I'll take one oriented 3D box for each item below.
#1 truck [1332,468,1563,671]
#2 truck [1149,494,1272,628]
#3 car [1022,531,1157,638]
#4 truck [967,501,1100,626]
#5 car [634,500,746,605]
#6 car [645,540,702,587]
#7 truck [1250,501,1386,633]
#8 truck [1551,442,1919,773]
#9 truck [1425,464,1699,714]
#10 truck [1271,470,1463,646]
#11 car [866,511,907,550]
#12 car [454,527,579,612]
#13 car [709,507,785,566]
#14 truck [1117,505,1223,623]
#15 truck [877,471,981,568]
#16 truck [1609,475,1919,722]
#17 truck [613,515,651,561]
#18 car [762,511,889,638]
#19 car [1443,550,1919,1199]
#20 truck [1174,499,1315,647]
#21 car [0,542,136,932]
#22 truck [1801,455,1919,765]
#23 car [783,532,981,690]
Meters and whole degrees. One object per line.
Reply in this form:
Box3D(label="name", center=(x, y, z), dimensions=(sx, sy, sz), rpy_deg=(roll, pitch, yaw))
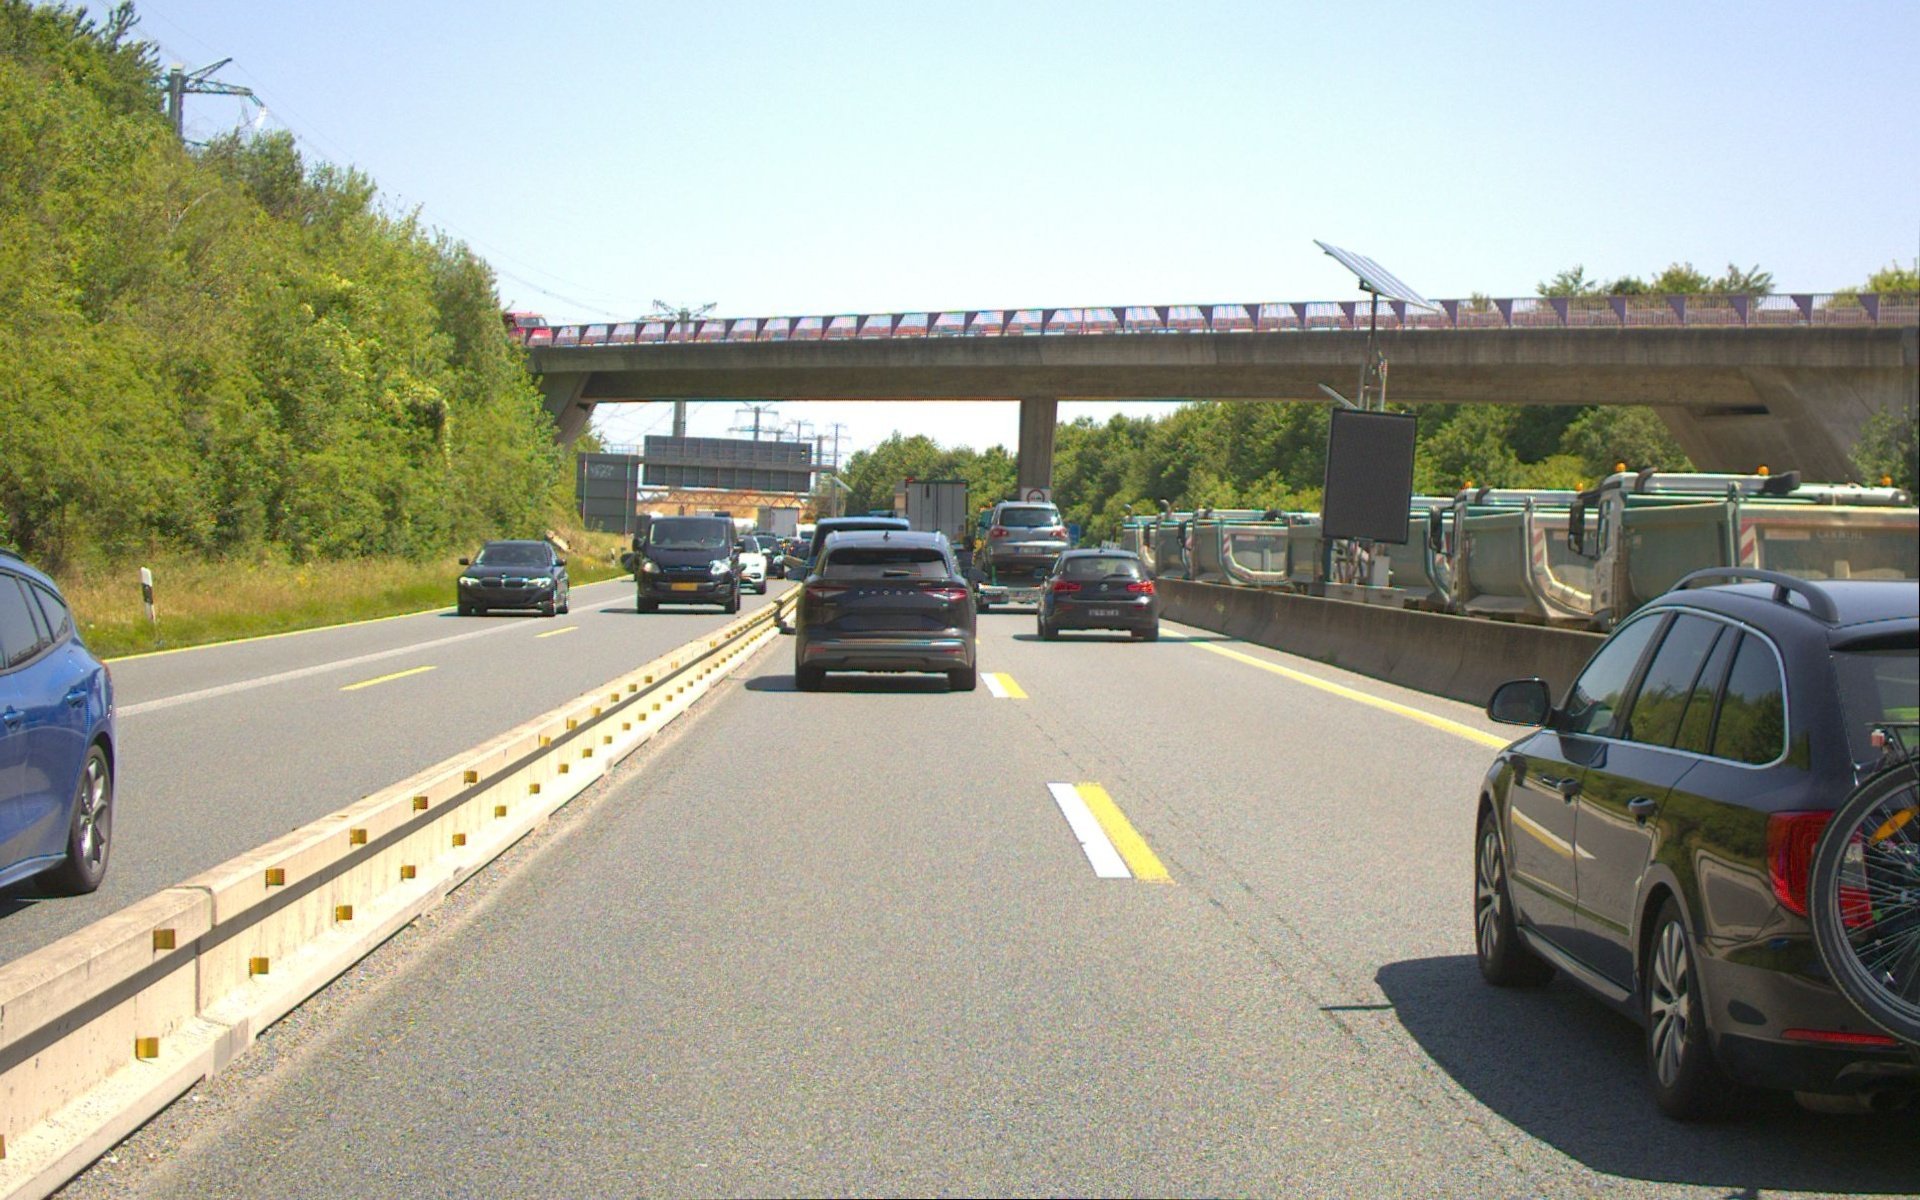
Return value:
Box3D(label="truck", center=(9.175, -0.637, 65.806), dimensions=(2.687, 3.545, 9.326), rpy_deg=(1, 1, -2))
Box3D(label="truck", center=(7.561, -1.211, 104.784), dimensions=(2.687, 3.842, 9.326), rpy_deg=(1, 1, -2))
Box3D(label="car", center=(2.001, -0.266, 54.261), dimensions=(1.899, 1.580, 4.276), rpy_deg=(1, 1, -1))
Box3D(label="truck", center=(1.547, -0.854, 75.497), dimensions=(2.405, 2.549, 7.501), rpy_deg=(1, 1, -2))
Box3D(label="car", center=(-5.448, -0.986, 69.786), dimensions=(1.890, 2.007, 4.818), rpy_deg=(2, 1, -1))
Box3D(label="car", center=(-9.989, -1.290, 119.981), dimensions=(1.699, 1.560, 3.995), rpy_deg=(2, 1, -1))
Box3D(label="truck", center=(10.585, -1.028, 102.522), dimensions=(2.687, 3.714, 9.326), rpy_deg=(1, 1, -2))
Box3D(label="truck", center=(9.533, -0.005, 42.045), dimensions=(2.687, 3.545, 9.603), rpy_deg=(1, 1, -1))
Box3D(label="truck", center=(9.323, -0.252, 54.301), dimensions=(2.687, 3.545, 9.406), rpy_deg=(1, 1, 1))
Box3D(label="truck", center=(8.757, -0.951, 75.092), dimensions=(2.687, 3.545, 9.326), rpy_deg=(1, 1, -2))
Box3D(label="car", center=(-3.839, -3.627, 179.000), dimensions=(1.899, 1.962, 4.277), rpy_deg=(1, 1, -4))
Box3D(label="car", center=(-8.381, -0.607, 65.305), dimensions=(1.793, 1.520, 4.531), rpy_deg=(2, 1, -1))
Box3D(label="car", center=(-5.874, -1.773, 95.146), dimensions=(1.843, 1.528, 4.671), rpy_deg=(2, 1, -1))
Box3D(label="truck", center=(7.105, -1.265, 117.637), dimensions=(2.687, 3.830, 9.326), rpy_deg=(1, 1, -2))
Box3D(label="truck", center=(-1.367, -3.354, 143.856), dimensions=(3.292, 3.832, 10.112), rpy_deg=(1, 1, -6))
Box3D(label="truck", center=(12.191, -0.108, 52.275), dimensions=(2.687, 3.366, 9.603), rpy_deg=(1, 1, 0))
Box3D(label="truck", center=(-23.158, -4.384, 242.257), dimensions=(2.508, 3.175, 10.112), rpy_deg=(1, 1, -6))
Box3D(label="car", center=(-2.168, -0.436, 56.324), dimensions=(1.899, 1.962, 4.276), rpy_deg=(1, 1, 0))
Box3D(label="car", center=(2.703, 0.631, 9.748), dimensions=(1.899, 1.485, 4.948), rpy_deg=(1, 1, 0))
Box3D(label="truck", center=(7.625, -0.788, 93.262), dimensions=(2.687, 3.748, 9.326), rpy_deg=(1, 1, -2))
Box3D(label="car", center=(-4.347, 0.479, 12.670), dimensions=(1.712, 1.420, 4.170), rpy_deg=(1, 1, -2))
Box3D(label="truck", center=(12.320, 0.136, 39.495), dimensions=(2.687, 3.545, 9.603), rpy_deg=(1, 1, -1))
Box3D(label="car", center=(-0.780, 0.074, 35.725), dimensions=(1.899, 1.500, 4.276), rpy_deg=(1, 1, 0))
